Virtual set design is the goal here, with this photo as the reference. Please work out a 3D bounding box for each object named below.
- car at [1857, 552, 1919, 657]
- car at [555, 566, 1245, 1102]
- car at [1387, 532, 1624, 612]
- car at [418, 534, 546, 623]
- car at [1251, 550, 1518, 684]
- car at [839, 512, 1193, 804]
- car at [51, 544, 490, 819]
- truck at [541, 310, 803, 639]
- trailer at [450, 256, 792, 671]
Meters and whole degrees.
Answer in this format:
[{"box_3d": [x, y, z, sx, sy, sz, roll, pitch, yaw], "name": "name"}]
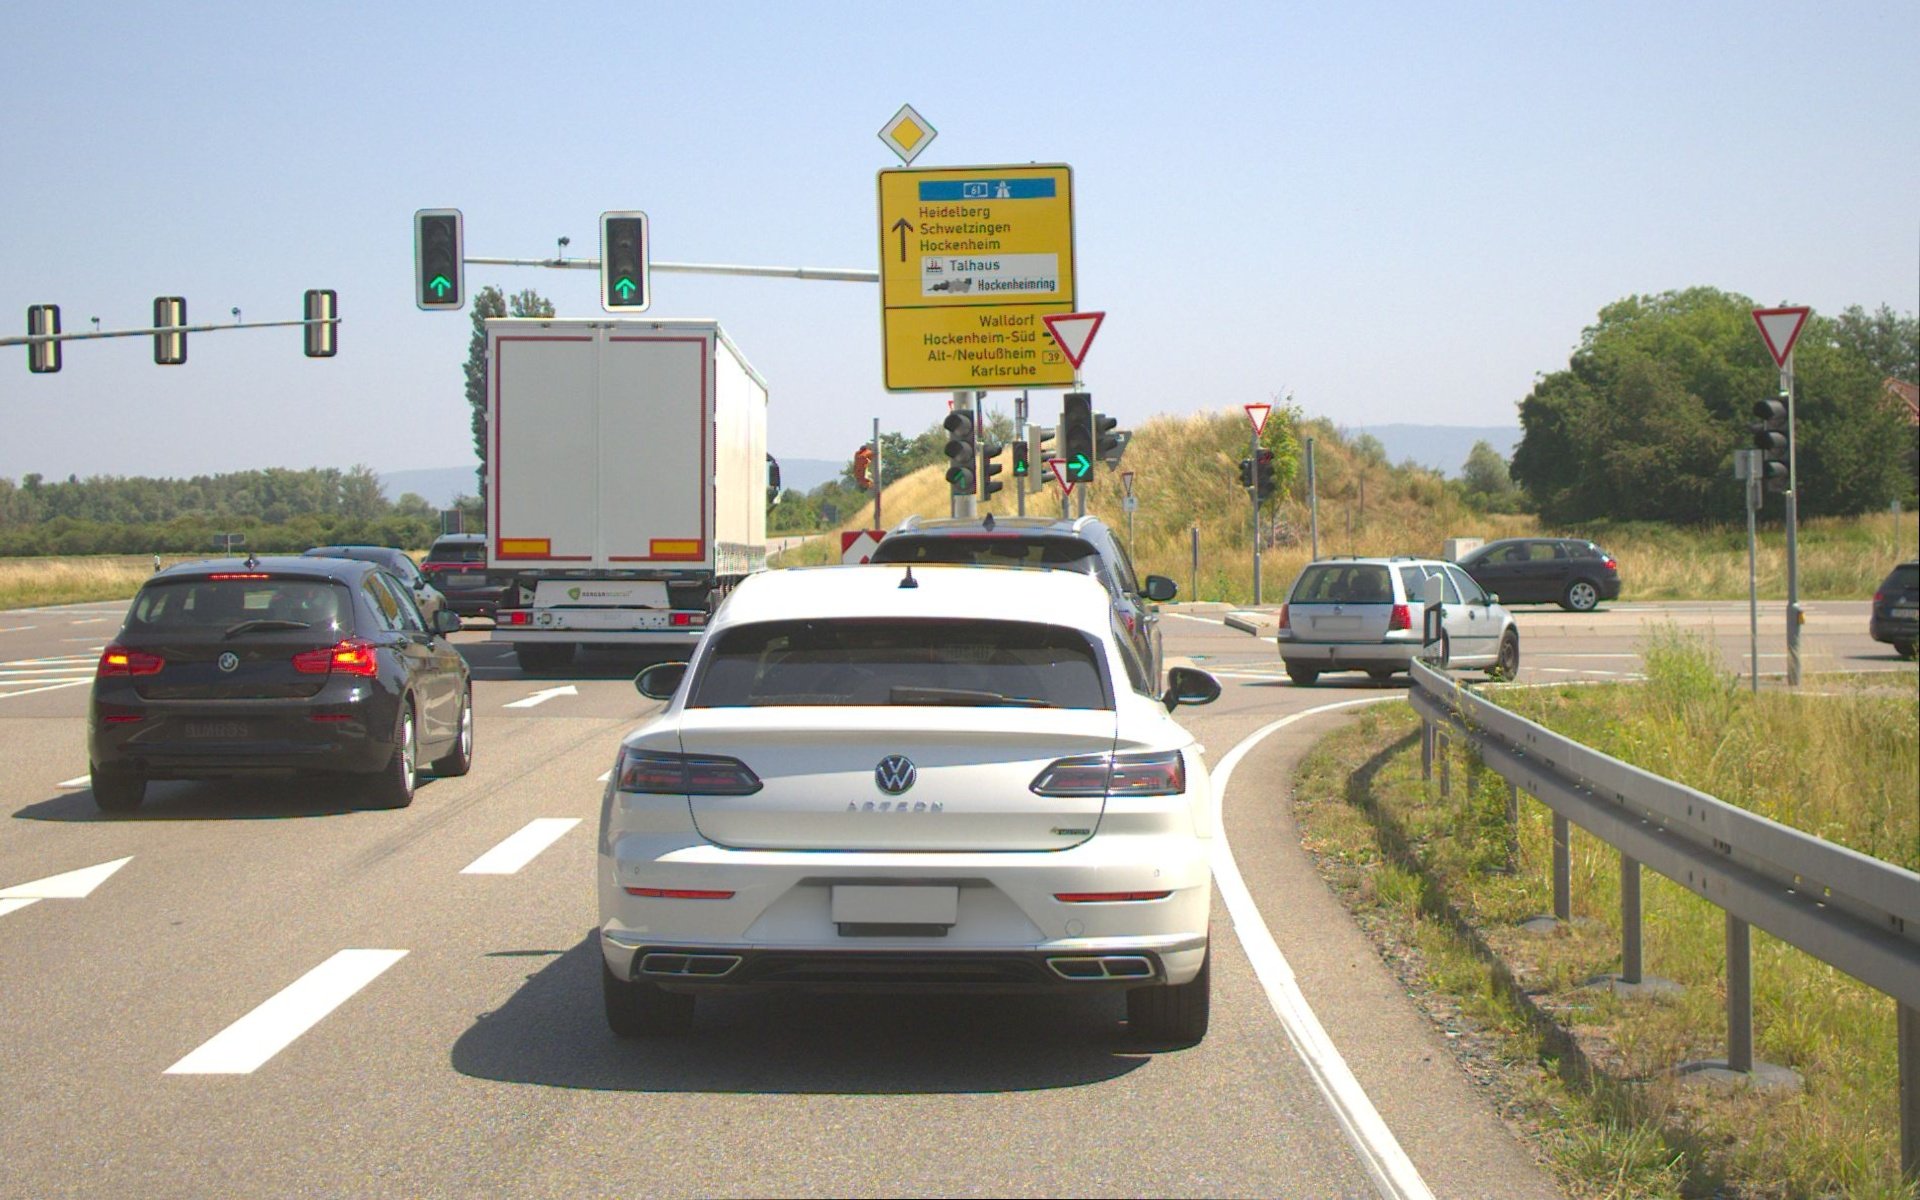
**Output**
[{"box_3d": [15.172, 0.049, 49.435, 4.400, 1.471, 1.806, 0, 1, -30], "name": "car"}, {"box_3d": [-0.183, 0.606, 11.528, 1.848, 1.428, 4.608, 0, 1, -1], "name": "car"}, {"box_3d": [10.368, -0.539, 65.587, 4.260, 1.364, 1.776, -1, 2, 3], "name": "car"}, {"box_3d": [-8.289, -0.390, 59.891, 1.809, 1.488, 4.022, 0, 1, -2], "name": "car"}, {"box_3d": [4.864, 0.161, 38.933, 1.802, 1.424, 4.087, 0, 1, 26], "name": "car"}, {"box_3d": [0.457, 0.296, 21.328, 1.935, 1.611, 4.378, 0, 1, 4], "name": "car"}, {"box_3d": [-3.998, 0.402, 20.638, 1.784, 1.426, 4.381, 1, 1, -1], "name": "car"}, {"box_3d": [-4.136, -1.786, 50.741, 3.381, 4.527, 6.373, 0, 1, -1], "name": "truck"}, {"box_3d": [-4.045, -1.610, 44.228, 3.381, 4.527, 12.873, 0, 1, -1], "name": "trailer"}]
